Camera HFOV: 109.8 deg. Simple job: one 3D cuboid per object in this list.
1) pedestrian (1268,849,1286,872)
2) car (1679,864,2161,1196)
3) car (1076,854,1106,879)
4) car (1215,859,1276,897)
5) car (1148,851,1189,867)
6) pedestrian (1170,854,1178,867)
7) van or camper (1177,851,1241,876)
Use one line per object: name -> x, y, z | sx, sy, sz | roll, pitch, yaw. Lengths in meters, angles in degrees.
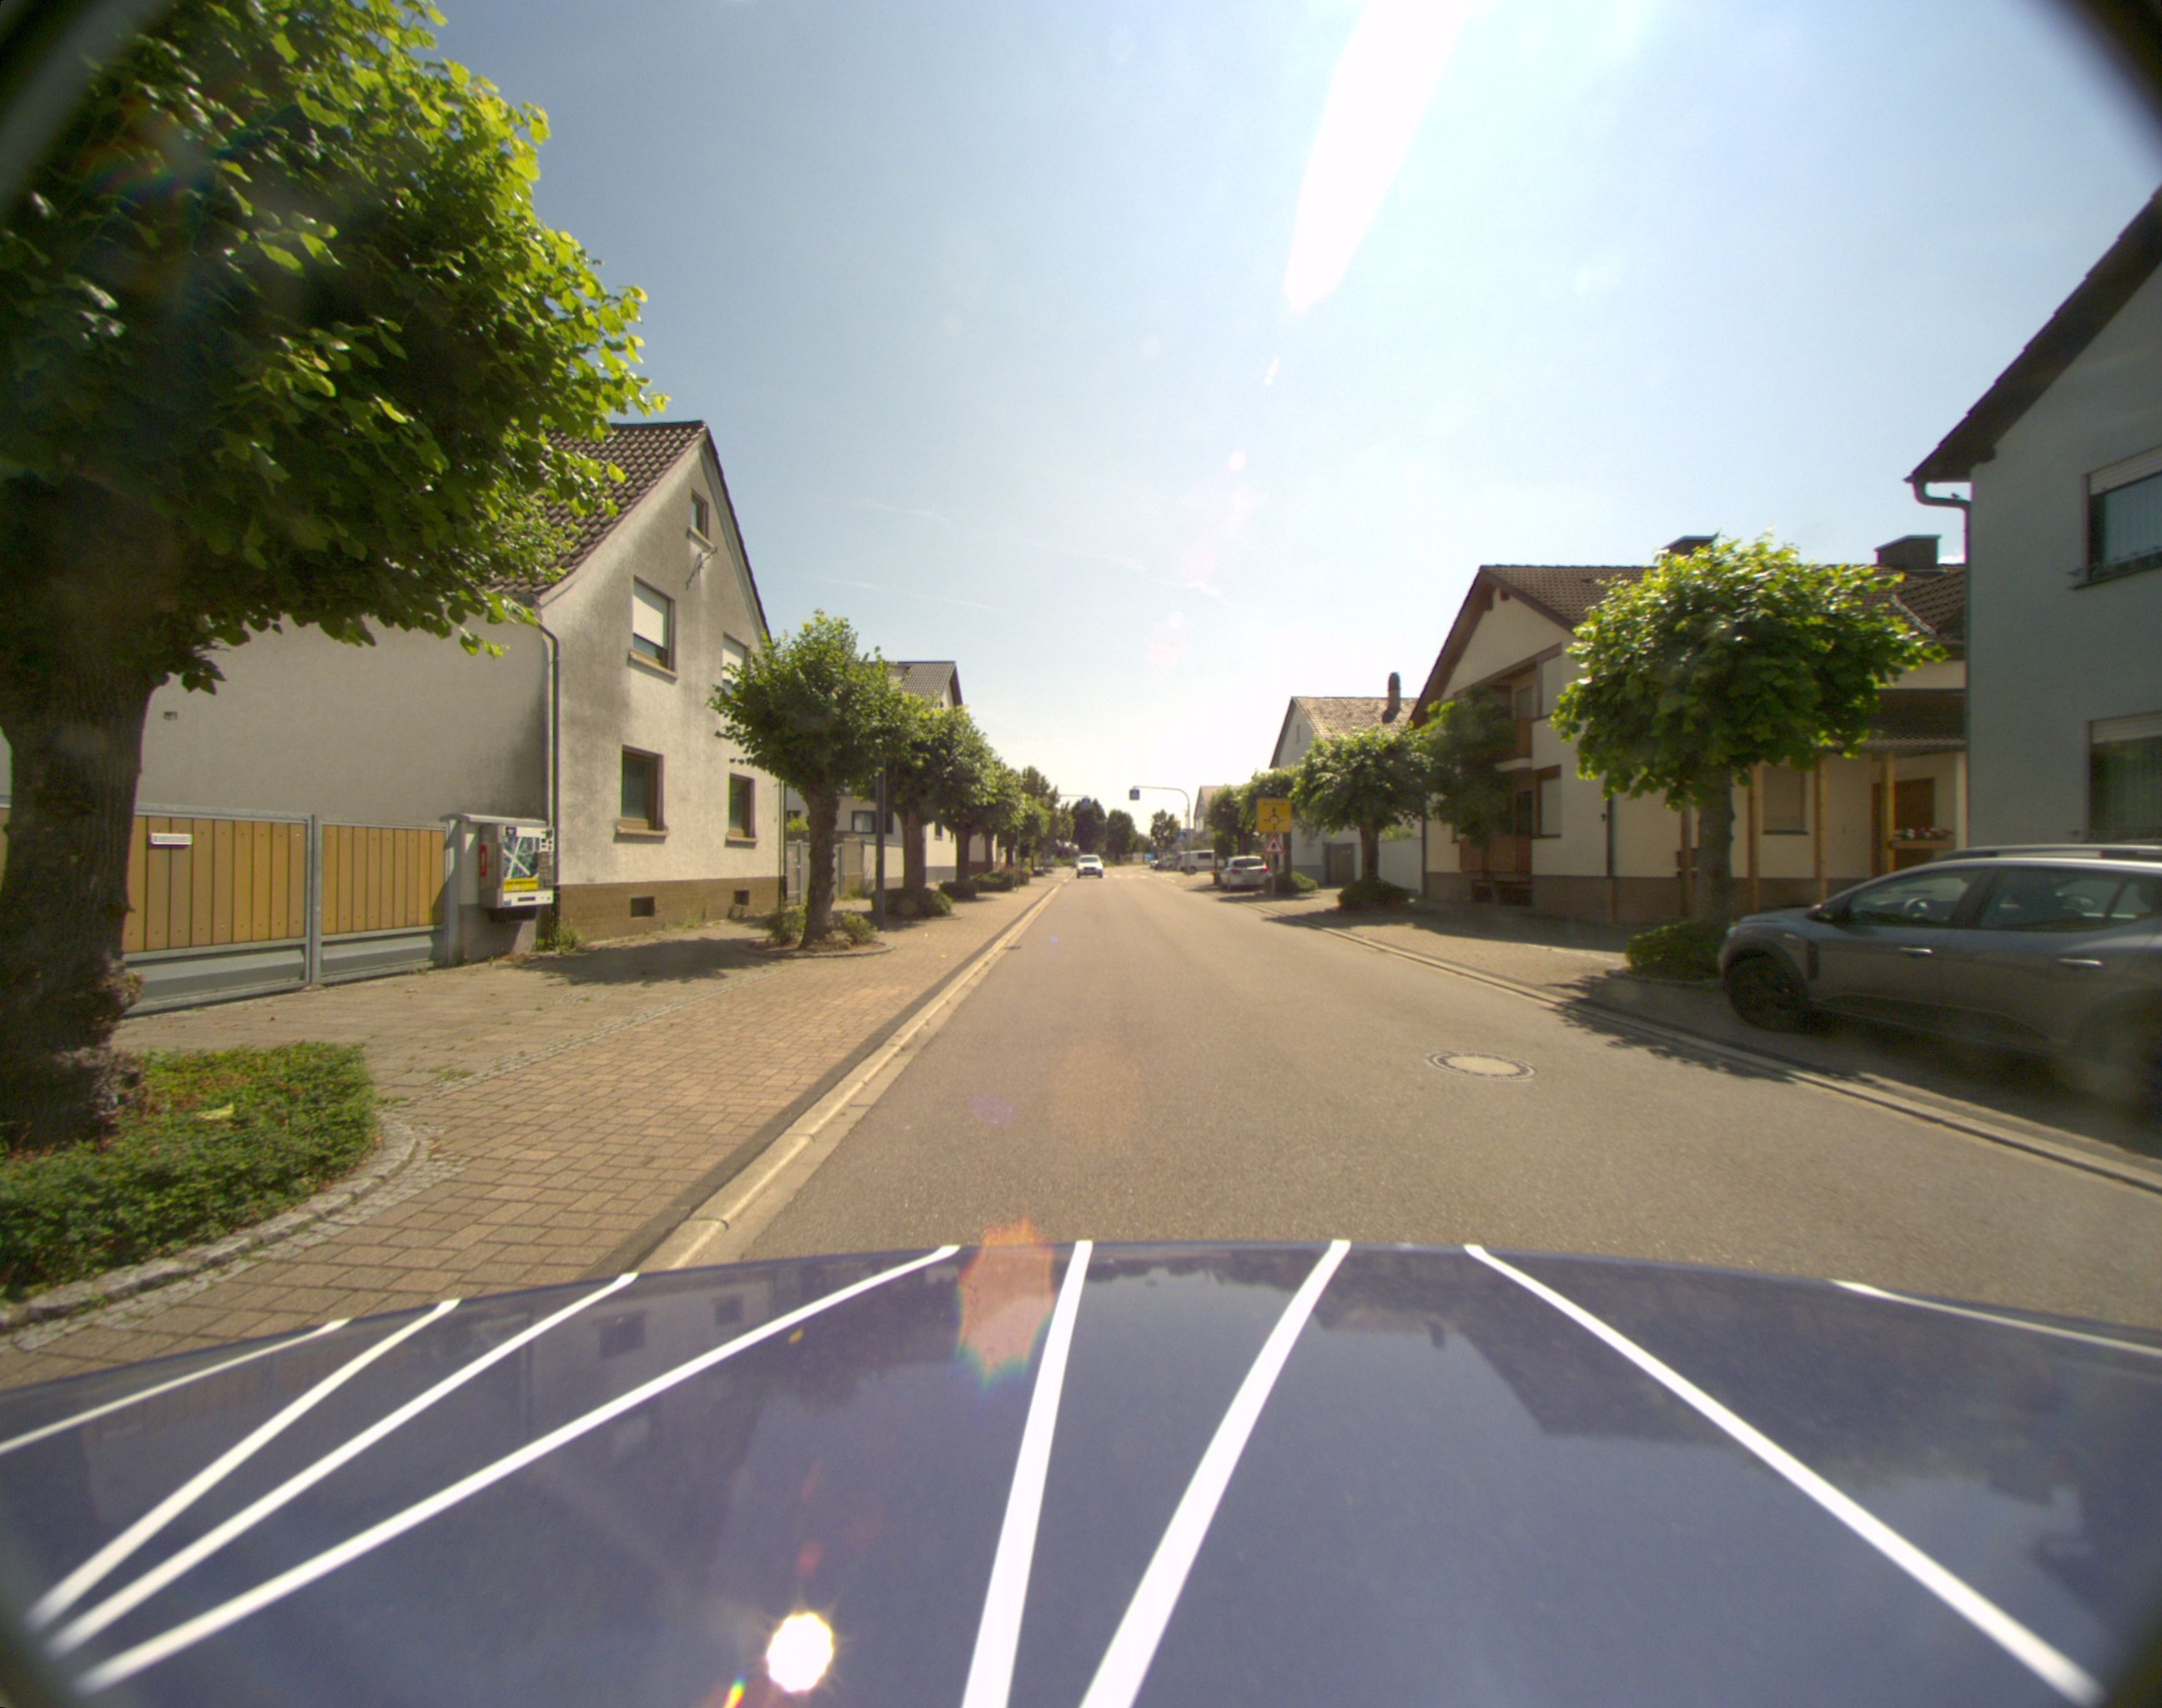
pedestrian -> 15.798, 0.520, 61.343 | 1.072, 1.764, 0.932 | 0, 1, -36
car -> 6.533, 0.930, 5.124 | 1.857, 1.603, 4.135 | -2, 0, 3
car -> 0.736, 0.814, 52.246 | 1.857, 1.603, 4.135 | -2, 0, 3
car -> 7.173, 0.993, 33.431 | 1.829, 1.474, 4.132 | -2, 0, 1
car -> 9.843, 0.566, 85.462 | 4.251, 1.709, 1.945 | -2, 0, -5
pedestrian -> 9.567, 0.636, 78.162 | 0.787, 1.350, 0.607 | -1, 0, 1
van or camper -> 10.267, 0.751, 61.132 | 4.752, 1.851, 2.000 | -2, 0, 0
